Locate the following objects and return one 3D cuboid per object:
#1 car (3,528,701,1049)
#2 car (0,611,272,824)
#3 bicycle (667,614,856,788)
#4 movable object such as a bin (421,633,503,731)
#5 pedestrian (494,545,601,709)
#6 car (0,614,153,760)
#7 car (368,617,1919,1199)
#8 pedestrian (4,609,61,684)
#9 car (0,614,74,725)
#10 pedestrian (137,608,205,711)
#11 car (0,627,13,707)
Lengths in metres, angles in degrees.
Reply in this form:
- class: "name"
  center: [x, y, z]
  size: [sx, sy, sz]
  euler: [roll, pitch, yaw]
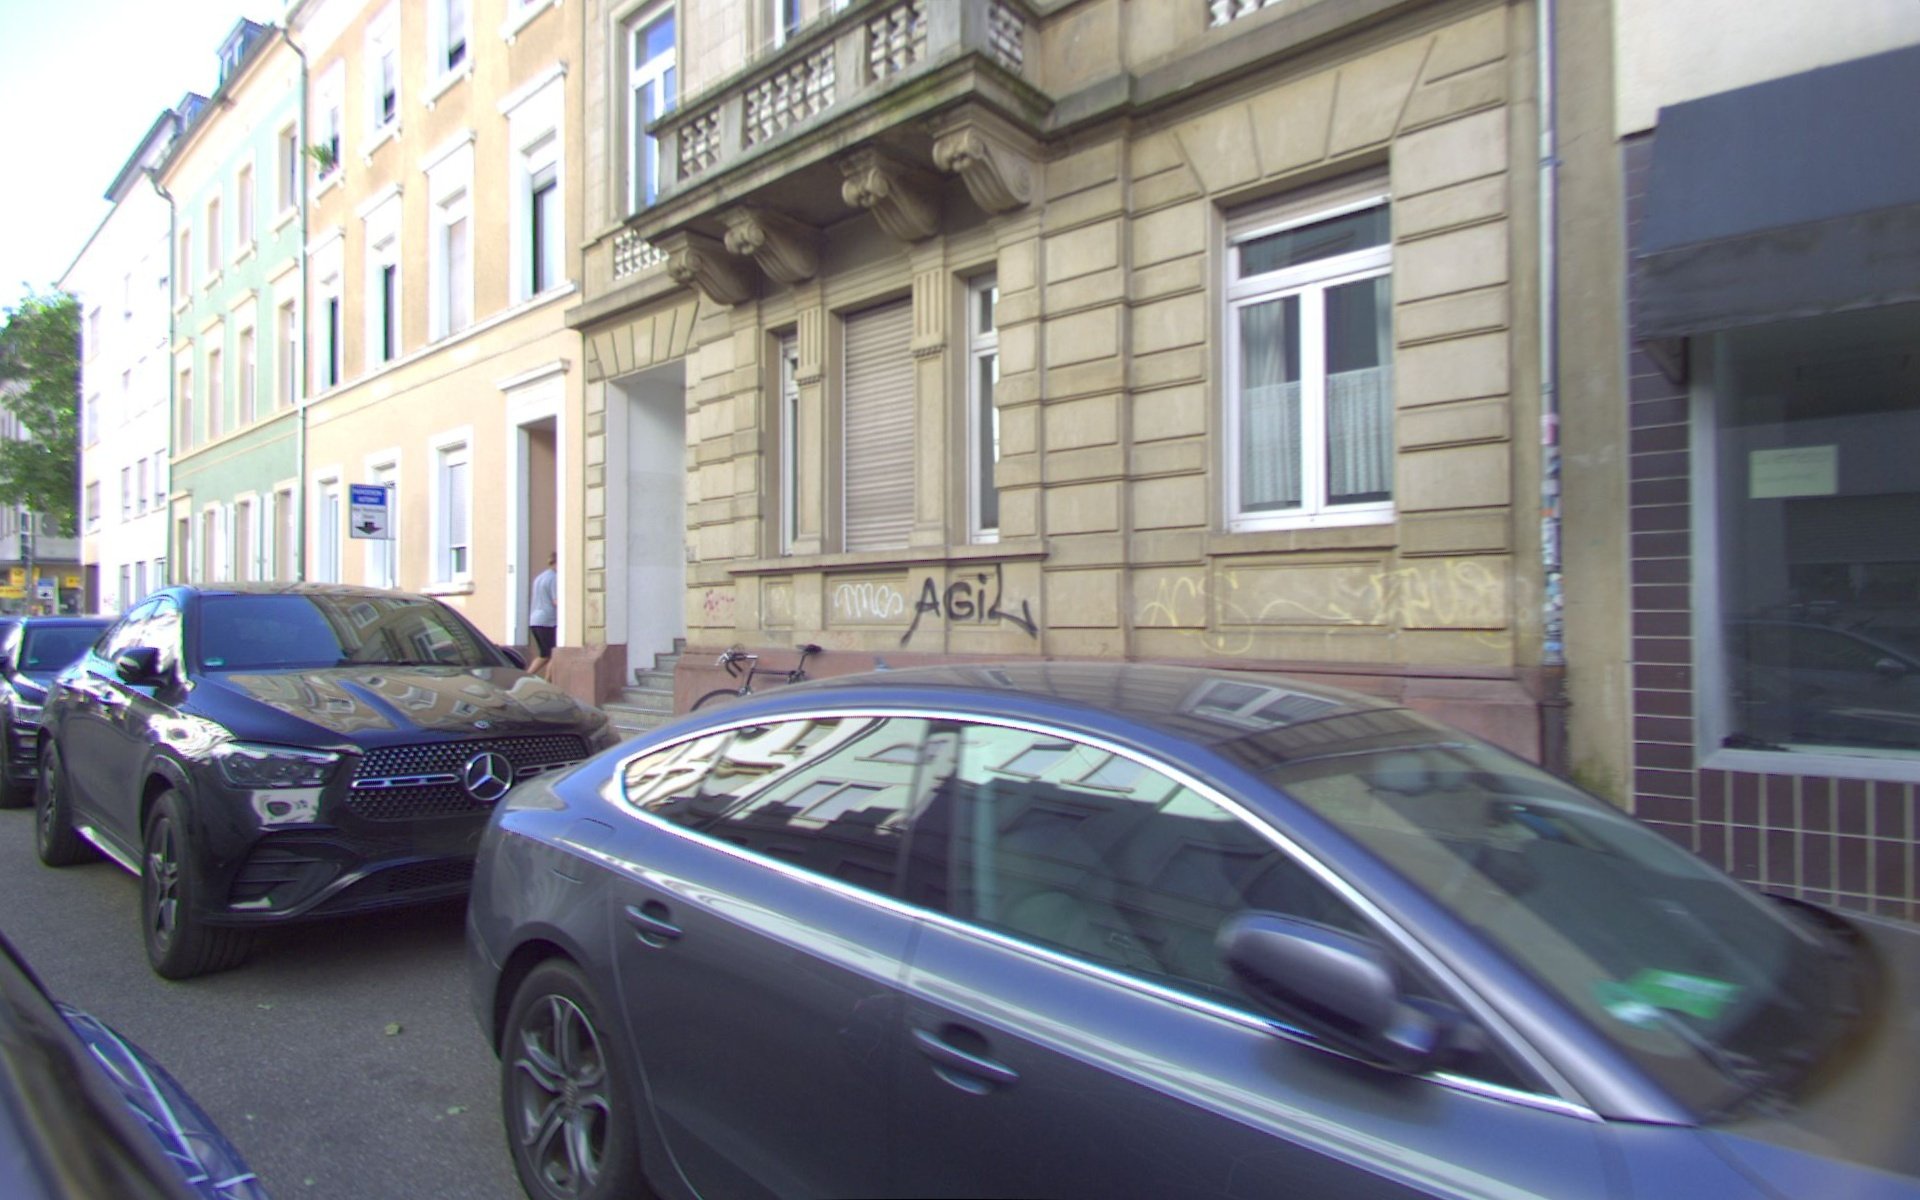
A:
- class: "car"
  center: [-3.823, 0.696, 5.834]
  size: [5.139, 1.749, 1.916]
  euler: [-1, -2, 41]
- class: "car"
  center: [-8.022, 0.909, 9.404]
  size: [4.366, 1.543, 1.695]
  euler: [-1, -2, 42]
- class: "bicycle"
  center: [-1.676, 0.760, 8.346]
  size: [1.866, 1.286, 0.505]
  euler: [-1, -1, 42]
- class: "movable object such as a bin"
  center: [-6.095, 0.978, 12.395]
  size: [0.584, 1.140, 0.713]
  euler: [0, -1, 37]
- class: "pedestrian"
  center: [-4.928, 0.313, 12.101]
  size: [0.883, 1.850, 0.857]
  euler: [-1, -1, 40]
- class: "car"
  center: [-11.563, 0.981, 12.595]
  size: [3.974, 1.565, 1.599]
  euler: [-1, -2, 40]
- class: "car"
  center: [0.659, 0.785, 2.157]
  size: [4.815, 1.428, 1.826]
  euler: [0, -2, 41]
- class: "pedestrian"
  center: [-23.610, 1.161, 25.755]
  size: [1.244, 1.846, 0.901]
  euler: [-1, -1, 40]
- class: "car"
  center: [-15.915, 1.080, 16.416]
  size: [4.601, 1.627, 1.726]
  euler: [-2, -3, 41]
- class: "pedestrian"
  center: [-13.787, 1.009, 17.688]
  size: [0.882, 1.727, 0.757]
  euler: [-1, 0, 40]
- class: "car"
  center: [-20.436, 1.260, 20.134]
  size: [4.848, 1.500, 1.696]
  euler: [-1, -4, 40]
